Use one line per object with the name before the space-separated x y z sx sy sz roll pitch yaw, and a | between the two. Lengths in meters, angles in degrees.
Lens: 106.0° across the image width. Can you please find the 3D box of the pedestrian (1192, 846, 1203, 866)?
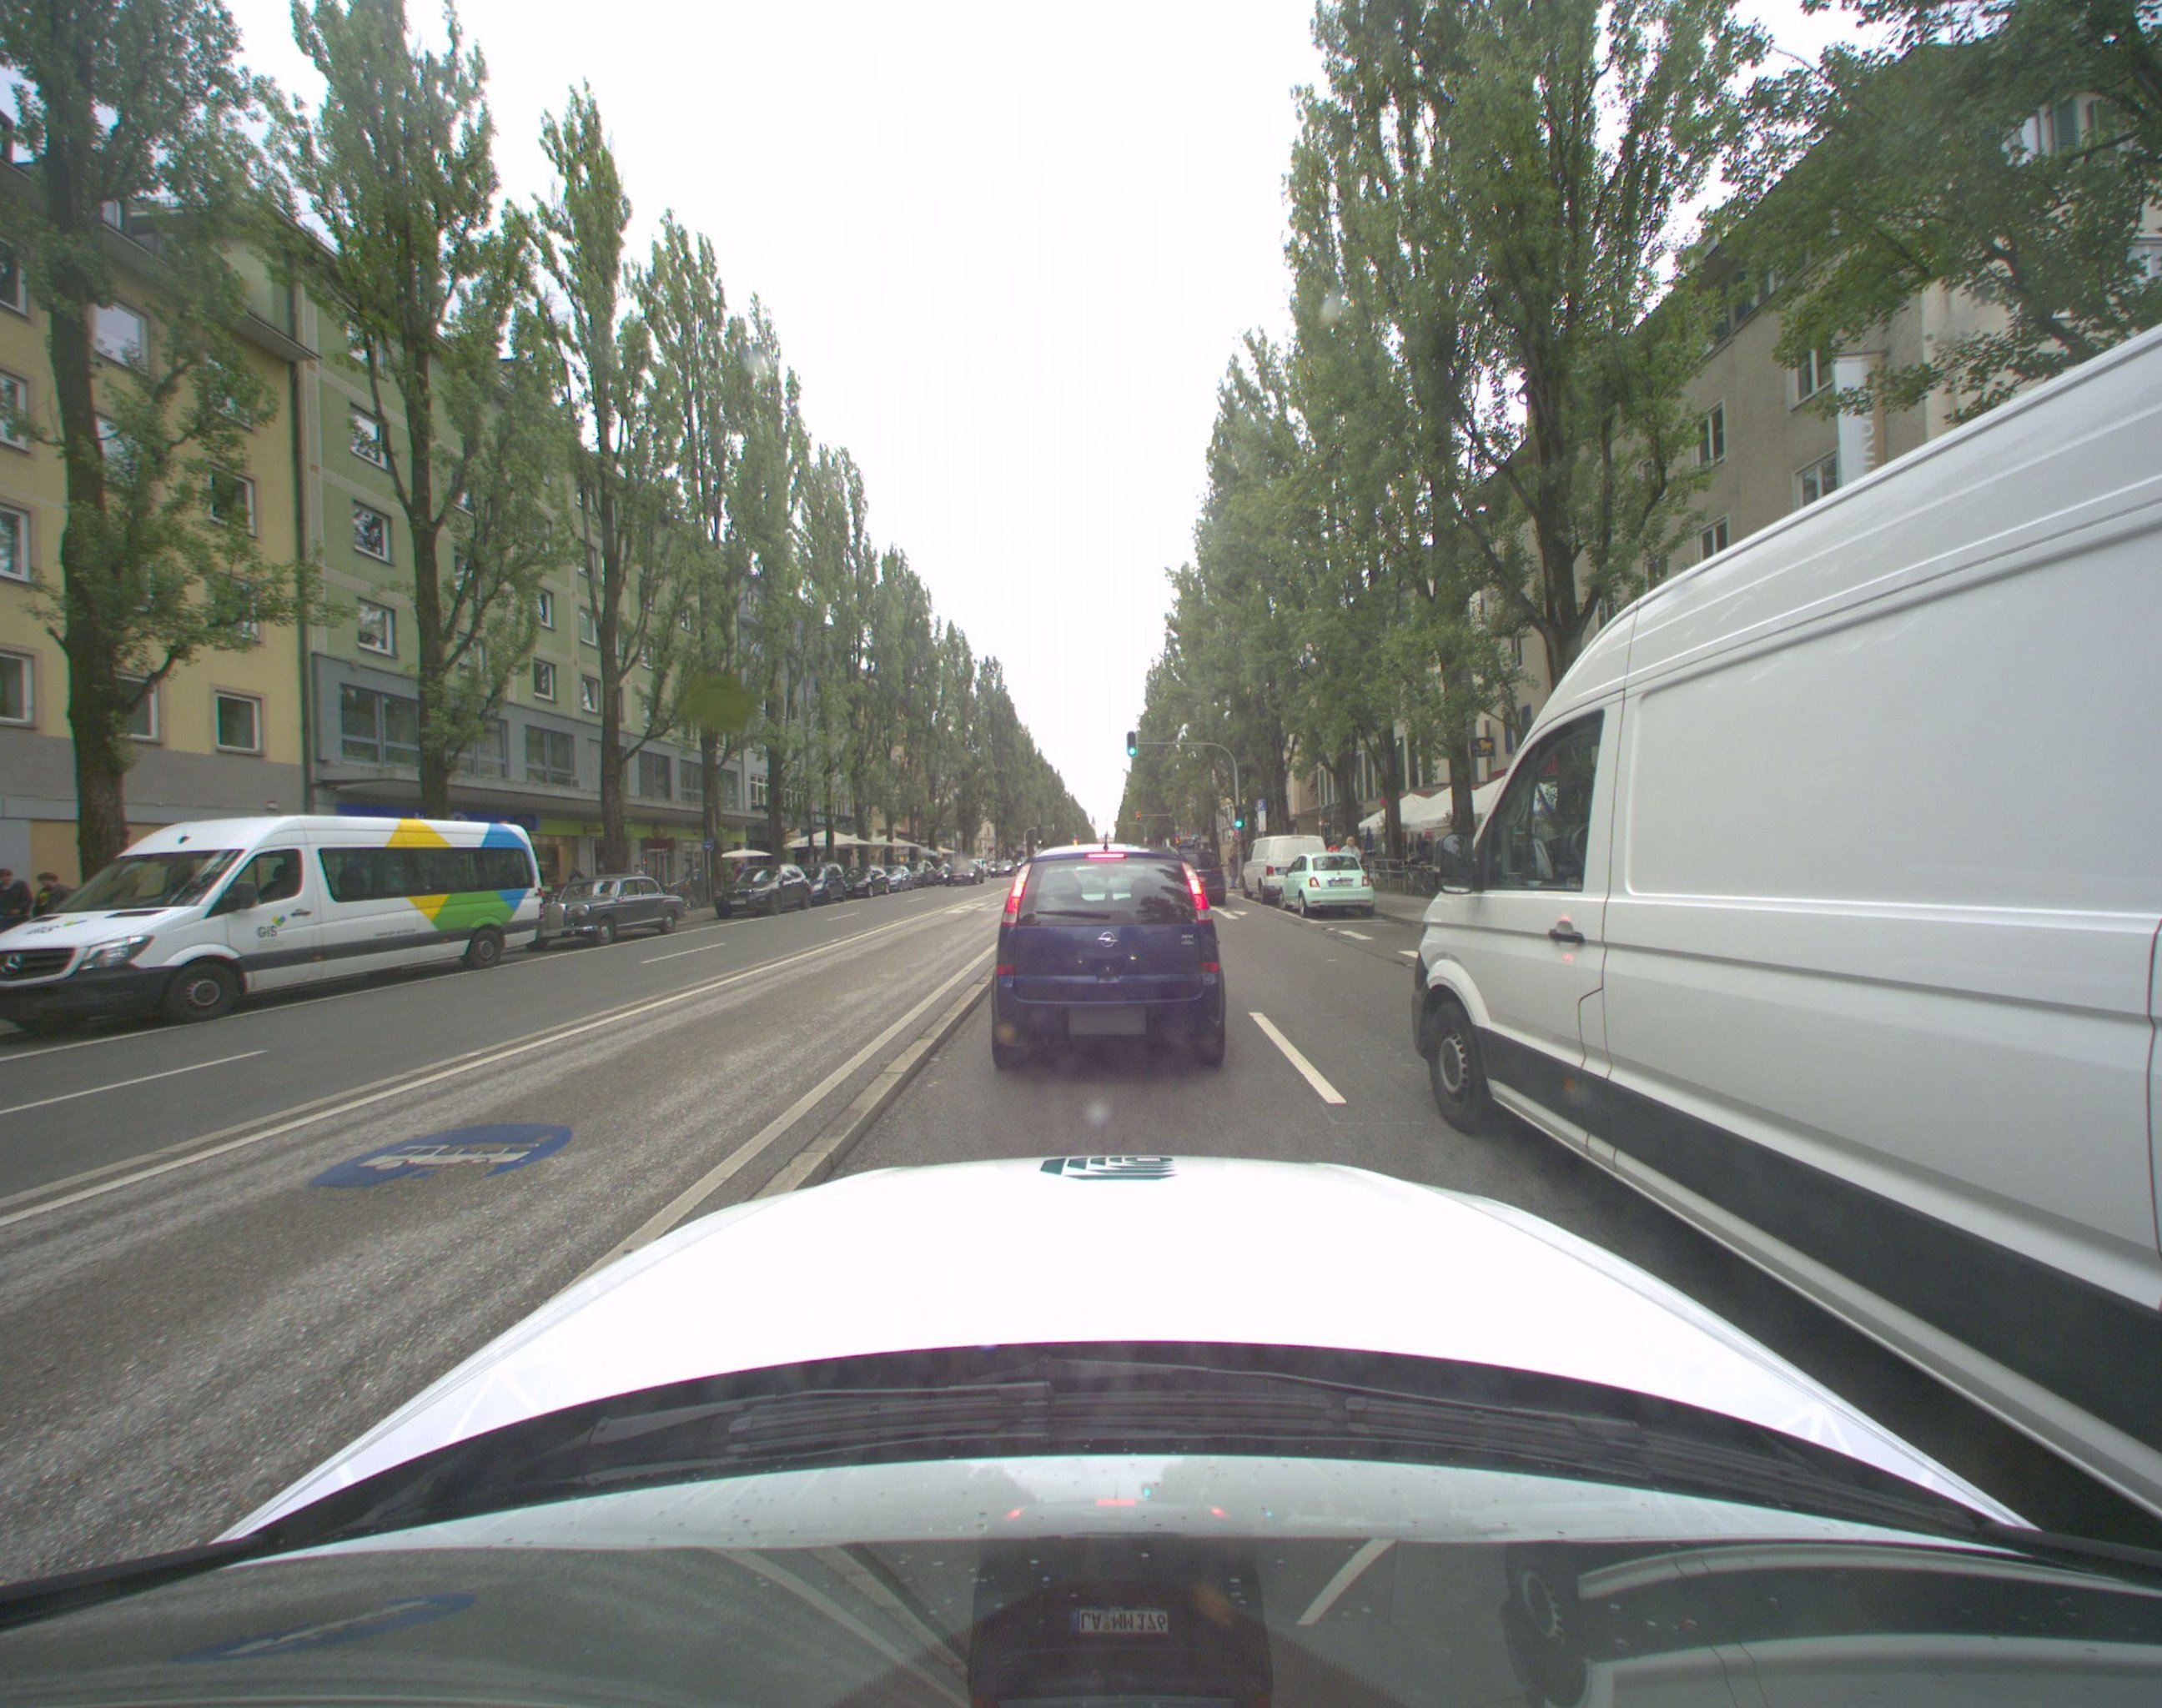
pedestrian | 10.526 0.205 73.421 0.719 1.827 0.885 0 -1 -8

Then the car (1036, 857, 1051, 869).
car | -5.505 1.296 121.473 1.859 1.665 4.122 -2 0 2

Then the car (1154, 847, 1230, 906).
car | 3.285 0.632 24.897 1.889 1.622 4.002 -1 0 2

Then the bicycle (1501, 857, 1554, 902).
bicycle | 10.405 0.589 19.035 0.348 0.996 1.453 -3 -1 -2

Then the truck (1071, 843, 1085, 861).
truck | -0.499 -0.401 154.876 2.374 3.346 7.113 -2 0 2

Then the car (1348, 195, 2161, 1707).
car | 2.722 0.225 2.085 2.055 2.492 6.733 -1 0 2

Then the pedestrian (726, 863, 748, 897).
pedestrian | -17.825 1.342 42.228 0.753 1.686 0.675 -3 -1 2

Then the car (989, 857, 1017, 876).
car | -6.535 1.061 68.649 1.739 1.434 4.131 -4 0 2

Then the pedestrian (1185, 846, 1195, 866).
pedestrian | 9.798 0.170 73.393 0.636 1.827 0.885 0 -1 -8

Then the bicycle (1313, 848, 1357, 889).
bicycle | 8.741 0.479 28.142 0.769 1.349 2.450 -2 0 1

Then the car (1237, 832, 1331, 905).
car | 6.038 0.398 24.793 1.781 1.946 4.732 -2 0 2

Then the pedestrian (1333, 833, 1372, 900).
pedestrian | 7.520 0.341 22.574 0.823 1.773 0.872 -2 0 6

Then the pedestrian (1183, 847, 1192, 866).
pedestrian | 10.130 0.250 77.728 0.636 1.827 0.885 0 -1 -8

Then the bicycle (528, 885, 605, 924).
bicycle | -15.276 1.491 24.200 1.860 1.095 0.720 0 0 4

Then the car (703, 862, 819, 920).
car | -10.677 1.171 27.571 1.859 1.664 4.613 -4 0 2

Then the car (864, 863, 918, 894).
car | -10.135 1.290 43.795 1.727 1.425 4.145 -4 0 2

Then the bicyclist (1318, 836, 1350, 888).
bicyclist | 8.736 0.270 28.149 0.764 1.766 0.885 -2 0 1

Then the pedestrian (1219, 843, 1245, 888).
pedestrian | 5.858 0.438 31.594 0.857 1.684 0.626 -2 0 -2

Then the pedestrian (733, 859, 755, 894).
pedestrian | -17.068 1.137 41.255 0.753 1.686 0.675 -3 -1 2

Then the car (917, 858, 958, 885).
car | -9.763 1.171 55.750 1.859 1.665 4.122 -4 0 2

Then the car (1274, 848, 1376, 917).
car | 5.796 0.643 19.731 1.535 1.492 3.525 -1 0 2

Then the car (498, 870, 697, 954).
car | -11.158 1.247 19.246 1.859 1.552 4.416 -4 0 2

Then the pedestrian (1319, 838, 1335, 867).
pedestrian | 14.839 -0.085 49.163 0.671 1.686 0.758 -3 -1 -3

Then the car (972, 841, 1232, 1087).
car | 0.207 0.715 7.295 1.665 1.568 4.002 -1 0 2

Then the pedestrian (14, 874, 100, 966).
pedestrian | -19.787 1.253 15.749 0.694 1.700 0.728 -2 0 6

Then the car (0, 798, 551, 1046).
car | -11.315 0.746 12.116 1.998 2.567 6.915 -4 0 2

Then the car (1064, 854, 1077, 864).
car | -1.585 0.763 125.533 1.728 1.465 3.366 -2 0 2

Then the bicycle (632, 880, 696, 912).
bicycle | -15.184 1.520 29.671 1.943 1.095 0.718 0 0 -5

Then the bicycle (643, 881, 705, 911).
bicycle | -15.219 1.555 30.503 1.943 1.095 0.718 0 0 -5

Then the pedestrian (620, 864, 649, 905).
pedestrian | -18.984 1.285 34.635 0.753 1.686 0.675 -3 -1 2

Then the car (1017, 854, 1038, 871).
car | -5.741 0.911 88.079 1.764 1.635 4.456 -3 0 1

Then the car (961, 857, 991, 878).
car | -9.175 1.125 71.531 1.859 1.665 4.122 -4 0 2

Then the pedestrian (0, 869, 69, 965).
pedestrian | -20.495 1.211 15.826 0.694 1.795 0.728 -2 0 6

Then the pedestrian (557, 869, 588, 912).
pedestrian | -20.293 1.446 32.521 0.670 1.686 0.759 -3 -1 3

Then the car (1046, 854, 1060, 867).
car | -4.588 1.108 132.775 1.986 2.013 4.001 -2 0 1

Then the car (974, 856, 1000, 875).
car | -9.045 1.121 78.808 1.859 1.665 4.122 -4 0 2

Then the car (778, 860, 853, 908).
car | -10.645 1.152 32.977 1.704 1.721 3.920 -4 0 -1

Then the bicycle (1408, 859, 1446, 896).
bicycle | 9.840 0.654 23.196 0.348 0.996 1.453 -3 -1 -2

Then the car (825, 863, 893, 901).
car | -10.346 1.272 38.236 1.792 1.488 4.352 -4 0 2

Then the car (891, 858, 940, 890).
car | -9.975 1.169 49.474 1.859 1.665 4.402 -4 0 2

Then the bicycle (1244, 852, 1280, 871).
bicycle | 12.123 0.497 54.647 2.220 1.204 0.626 -3 0 -1

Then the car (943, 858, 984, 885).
car | -7.257 1.064 50.712 1.691 1.462 4.714 -4 0 2

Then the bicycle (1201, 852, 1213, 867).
bicycle | 11.666 0.481 75.268 0.769 1.349 2.450 -2 0 1

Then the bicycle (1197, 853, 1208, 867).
bicycle | 12.151 0.549 81.316 0.769 1.349 2.450 -2 0 1

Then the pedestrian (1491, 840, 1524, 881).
pedestrian | 14.347 0.223 27.410 0.636 1.324 0.800 -2 0 1
